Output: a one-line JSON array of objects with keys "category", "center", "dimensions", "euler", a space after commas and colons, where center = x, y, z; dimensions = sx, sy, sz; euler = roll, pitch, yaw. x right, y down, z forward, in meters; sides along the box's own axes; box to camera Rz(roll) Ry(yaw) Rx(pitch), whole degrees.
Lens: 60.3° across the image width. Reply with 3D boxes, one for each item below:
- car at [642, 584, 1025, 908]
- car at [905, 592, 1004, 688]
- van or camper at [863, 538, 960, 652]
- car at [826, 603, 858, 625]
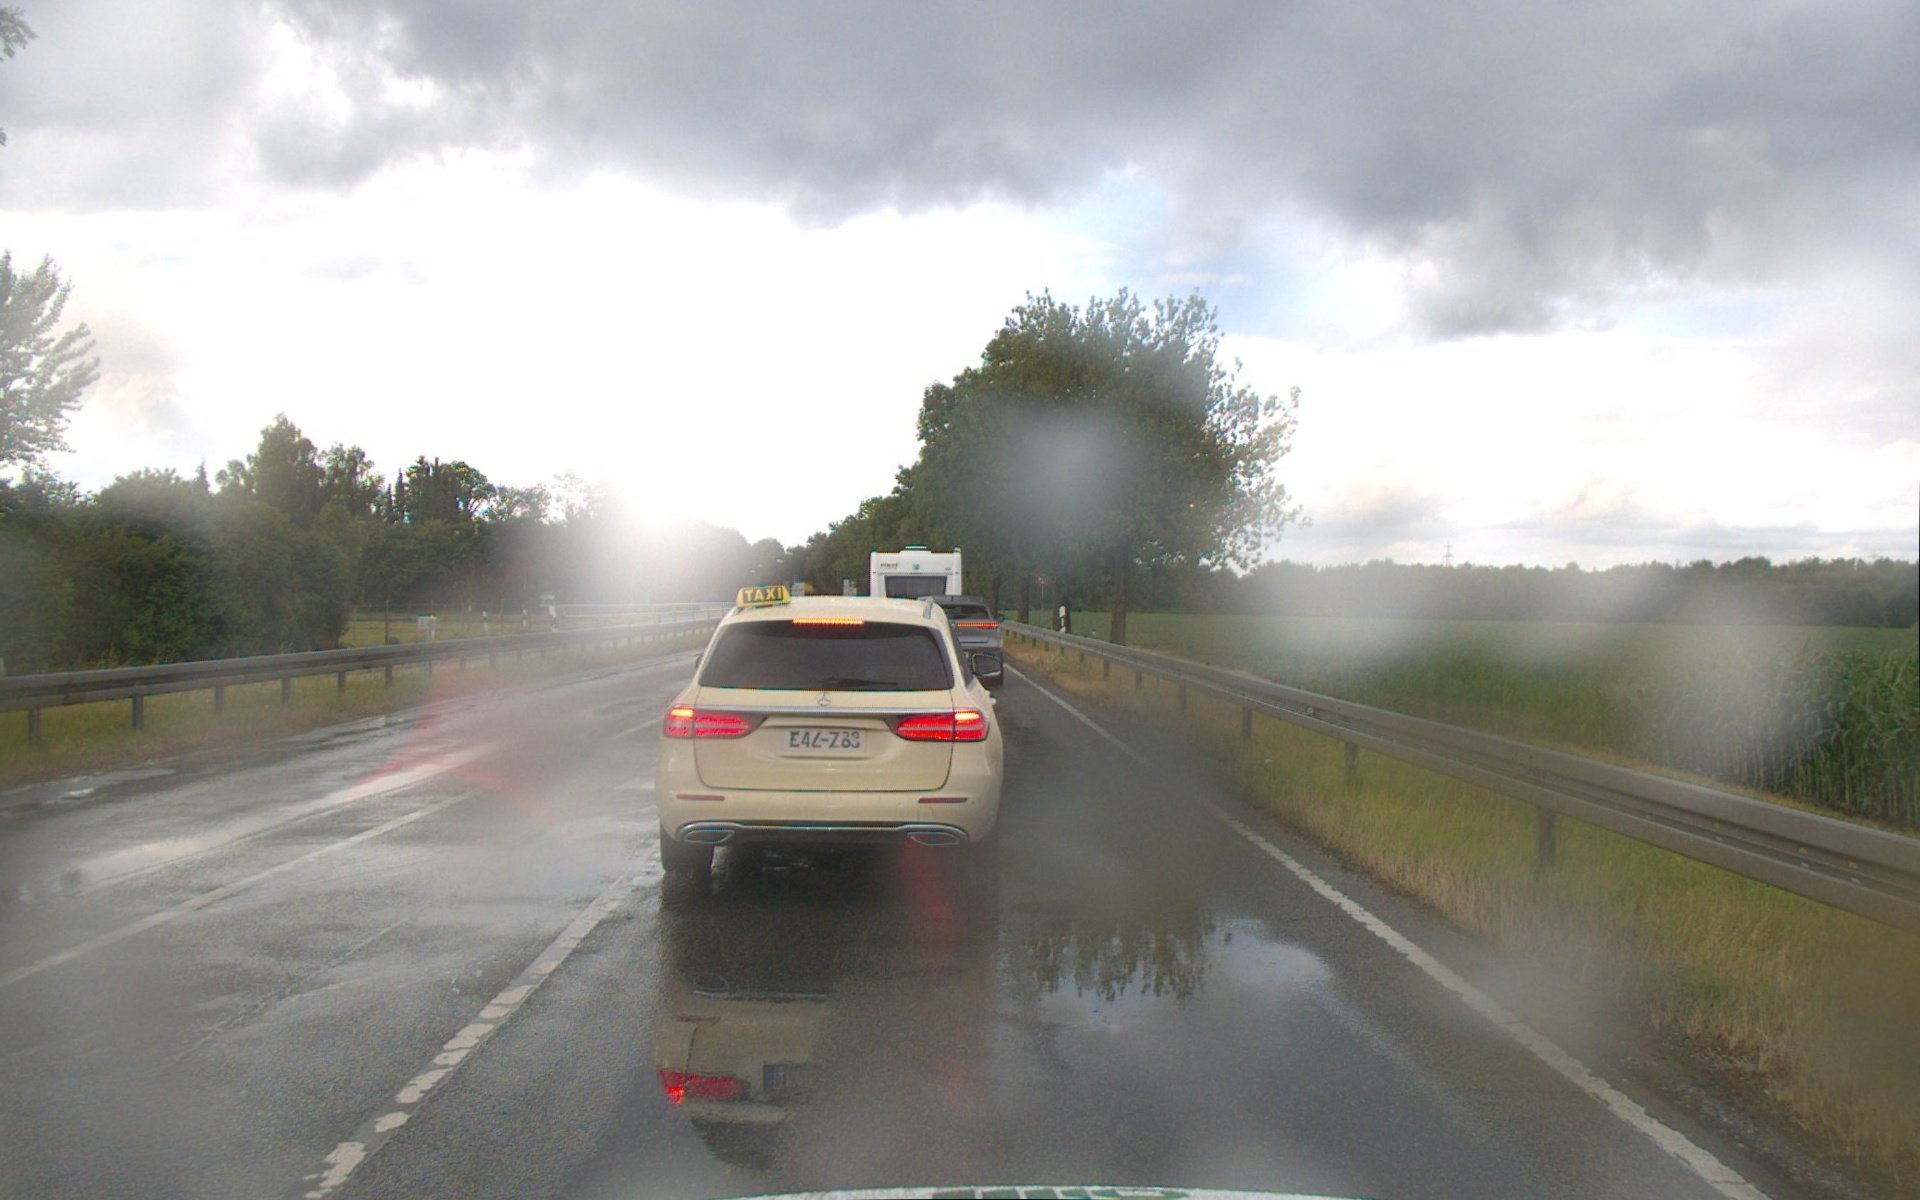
[{"category": "car", "center": [-0.584, 0.684, 9.838], "dimensions": [1.787, 1.511, 4.145], "euler": [0, 0, 0]}, {"category": "car", "center": [-0.116, 0.639, 29.042], "dimensions": [1.594, 1.556, 3.932], "euler": [1, 0, -1]}, {"category": "van or camper", "center": [-1.207, -0.149, 42.753], "dimensions": [2.303, 2.727, 5.767], "euler": [1, 0, -1]}, {"category": "car", "center": [-7.337, 0.874, 103.255], "dimensions": [1.723, 1.291, 3.999], "euler": [1, 0, -1]}]
